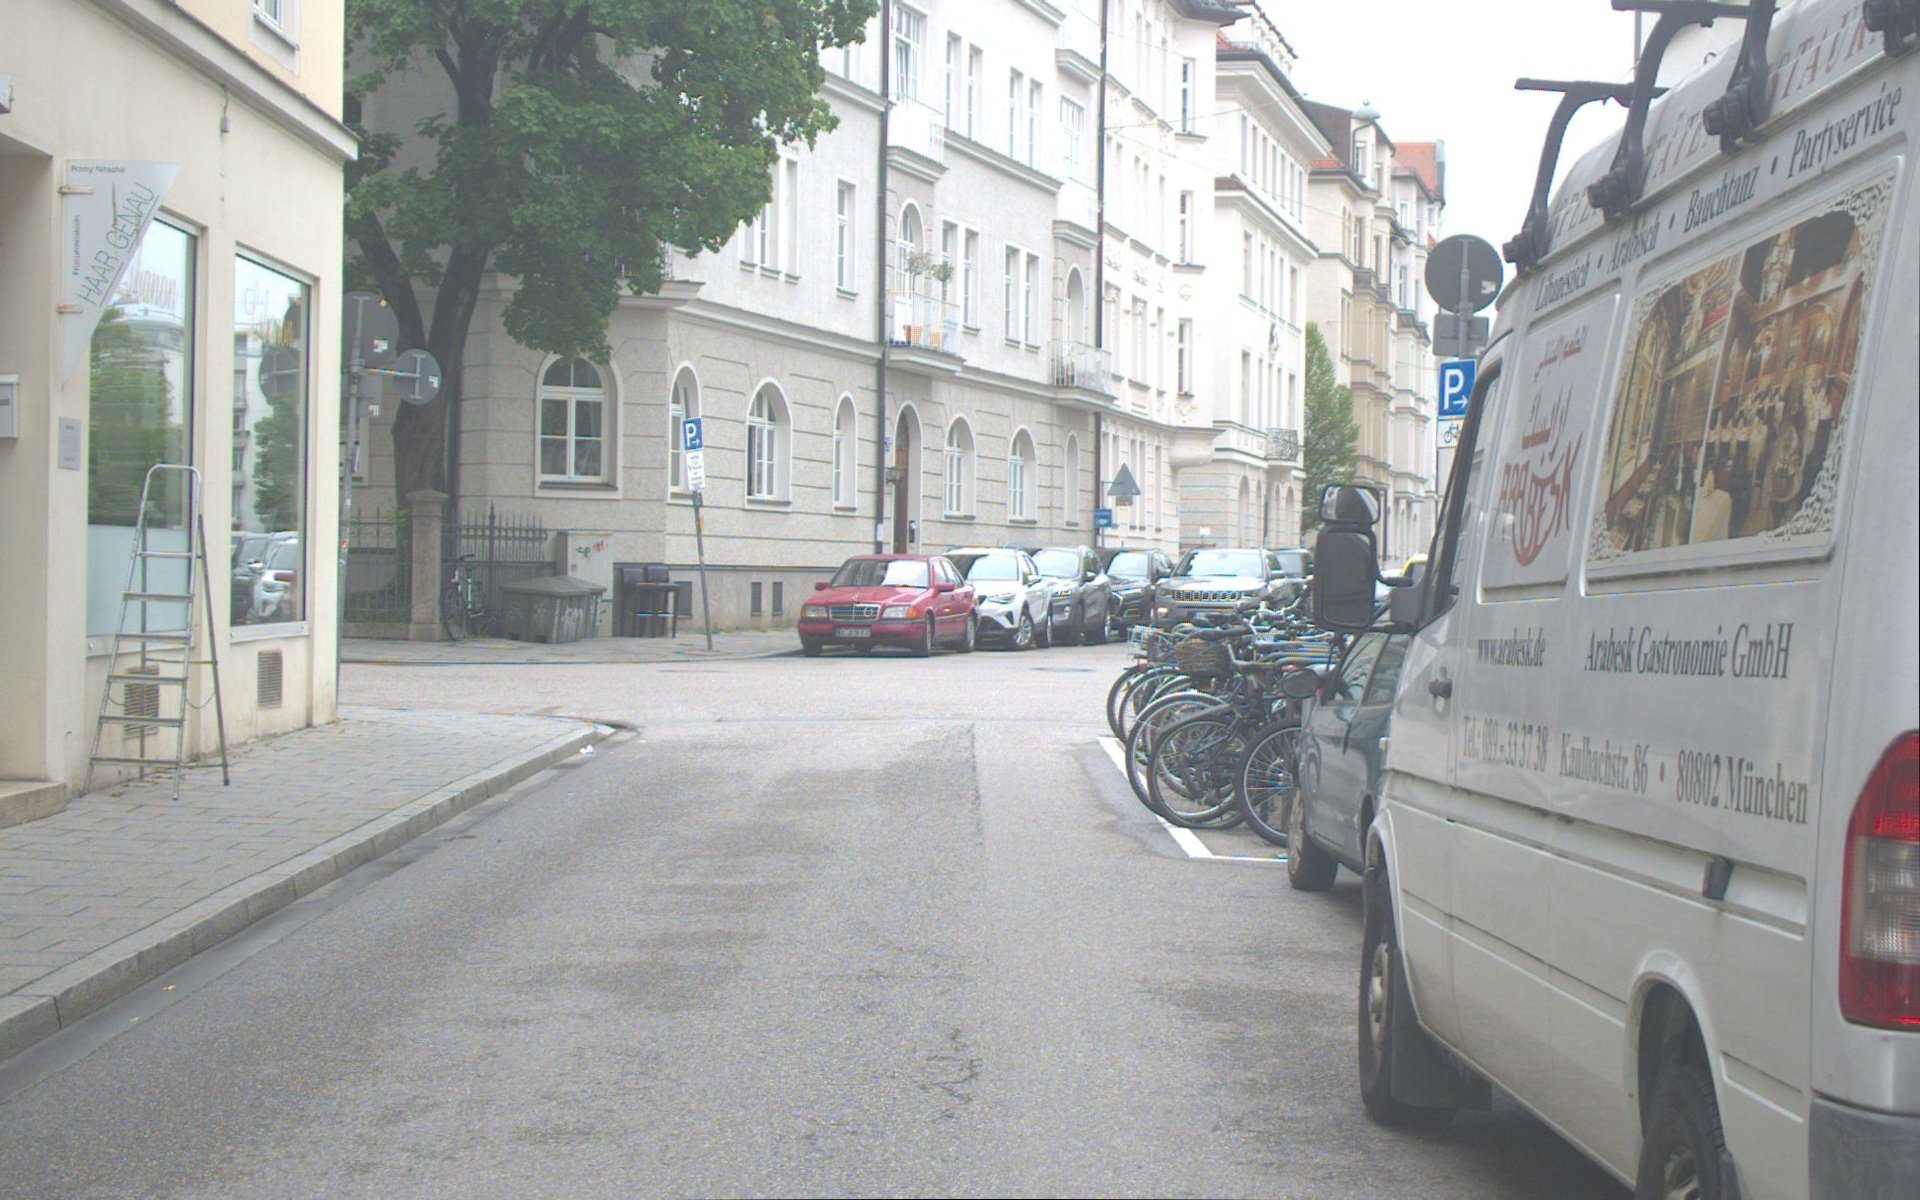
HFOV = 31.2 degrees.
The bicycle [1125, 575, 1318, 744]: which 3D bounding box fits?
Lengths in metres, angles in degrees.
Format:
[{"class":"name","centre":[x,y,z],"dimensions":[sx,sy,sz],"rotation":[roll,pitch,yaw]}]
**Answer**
[{"class":"bicycle","centre":[2.051,0.463,27.068],"dimensions":[1.457,1.281,0.445],"rotation":[2,1,2]}]

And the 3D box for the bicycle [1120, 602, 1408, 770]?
[{"class":"bicycle","centre":[2.038,0.577,23.147],"dimensions":[1.873,1.076,0.402],"rotation":[1,2,-3]}]

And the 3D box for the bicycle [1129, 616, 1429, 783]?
[{"class":"bicycle","centre":[2.075,0.644,22.449],"dimensions":[1.873,1.048,0.564],"rotation":[1,-1,-3]}]

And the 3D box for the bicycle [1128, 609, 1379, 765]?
[{"class":"bicycle","centre":[2.109,0.626,24.825],"dimensions":[1.740,1.076,0.452],"rotation":[1,2,-3]}]

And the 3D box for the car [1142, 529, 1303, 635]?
[{"class":"car","centre":[4.252,-0.307,55.159],"dimensions":[1.958,1.602,4.306],"rotation":[1,1,13]}]

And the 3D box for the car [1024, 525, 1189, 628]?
[{"class":"car","centre":[2.668,-0.435,61.647],"dimensions":[1.995,1.732,4.519],"rotation":[2,1,15]}]

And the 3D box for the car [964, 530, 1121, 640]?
[{"class":"car","centre":[1.394,-0.260,56.632],"dimensions":[1.944,1.696,3.998],"rotation":[2,1,10]}]

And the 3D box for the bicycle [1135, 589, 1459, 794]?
[{"class":"bicycle","centre":[2.004,0.538,20.574],"dimensions":[1.873,1.200,0.580],"rotation":[0,1,-2]}]

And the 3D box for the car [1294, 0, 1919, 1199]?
[{"class":"car","centre":[2.049,0.183,7.348],"dimensions":[1.920,2.497,5.997],"rotation":[2,1,-1]}]

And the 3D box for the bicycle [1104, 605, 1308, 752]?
[{"class":"bicycle","centre":[1.861,0.589,26.062],"dimensions":[1.450,1.066,0.463],"rotation":[1,1,-7]}]

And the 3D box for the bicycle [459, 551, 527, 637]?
[{"class":"bicycle","centre":[-6.224,-0.094,45.898],"dimensions":[0.493,1.049,1.827],"rotation":[1,3,5]}]

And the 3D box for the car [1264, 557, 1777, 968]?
[{"class":"car","centre":[2.209,0.572,14.359],"dimensions":[1.580,1.459,3.552],"rotation":[1,1,1]}]

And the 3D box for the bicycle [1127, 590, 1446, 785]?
[{"class":"bicycle","centre":[2.002,0.532,21.202],"dimensions":[1.893,1.166,0.566],"rotation":[0,1,-2]}]

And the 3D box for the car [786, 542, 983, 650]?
[{"class":"car","centre":[-0.974,-0.076,46.937],"dimensions":[1.731,1.373,4.224],"rotation":[1,1,12]}]

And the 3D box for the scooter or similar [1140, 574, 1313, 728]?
[{"class":"scooter or similar","centre":[2.155,0.405,27.863],"dimensions":[1.352,1.206,0.417],"rotation":[1,1,2]}]

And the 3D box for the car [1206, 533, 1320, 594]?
[{"class":"car","centre":[6.889,-0.829,77.826],"dimensions":[1.908,1.324,3.997],"rotation":[1,1,15]}]

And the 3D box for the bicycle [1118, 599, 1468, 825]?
[{"class":"bicycle","centre":[1.845,0.618,19.162],"dimensions":[1.873,1.200,0.488],"rotation":[1,2,-2]}]

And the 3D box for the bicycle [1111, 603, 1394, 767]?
[{"class":"bicycle","centre":[2.002,0.580,23.586],"dimensions":[1.873,1.076,0.408],"rotation":[1,2,-3]}]

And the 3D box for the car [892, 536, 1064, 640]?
[{"class":"car","centre":[0.325,-0.193,51.963],"dimensions":[1.994,1.468,4.217],"rotation":[1,1,8]}]

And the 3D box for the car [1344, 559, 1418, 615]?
[{"class":"car","centre":[12.326,-0.384,100.533],"dimensions":[1.821,1.568,3.998],"rotation":[1,1,11]}]

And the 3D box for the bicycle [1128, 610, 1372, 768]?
[{"class":"bicycle","centre":[2.052,0.629,24.412],"dimensions":[1.674,1.076,0.336],"rotation":[1,2,-3]}]

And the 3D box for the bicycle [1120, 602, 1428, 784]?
[{"class":"bicycle","centre":[1.978,0.584,21.746],"dimensions":[1.873,1.091,0.440],"rotation":[1,2,-3]}]

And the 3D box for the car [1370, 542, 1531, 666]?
[{"class":"car","centre":[7.184,0.033,50.024],"dimensions":[1.821,1.630,4.286],"rotation":[3,1,14]}]

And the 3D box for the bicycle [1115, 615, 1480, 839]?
[{"class":"bicycle","centre":[1.816,0.680,18.643],"dimensions":[1.873,1.104,0.488],"rotation":[2,2,-2]}]

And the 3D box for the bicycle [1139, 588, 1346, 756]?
[{"class":"bicycle","centre":[2.100,0.535,25.608],"dimensions":[1.450,1.203,0.395],"rotation":[1,1,-7]}]

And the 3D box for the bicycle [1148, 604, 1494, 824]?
[{"class":"bicycle","centre":[2.069,0.650,19.843],"dimensions":[1.873,1.153,0.565],"rotation":[3,2,-2]}]

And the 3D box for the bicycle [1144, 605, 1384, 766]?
[{"class":"bicycle","centre":[2.121,0.596,24.025],"dimensions":[1.612,1.076,0.378],"rotation":[1,2,-3]}]

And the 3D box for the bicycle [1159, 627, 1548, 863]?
[{"class":"bicycle","centre":[2.008,0.737,17.644],"dimensions":[1.873,1.076,0.488],"rotation":[3,2,-2]}]
